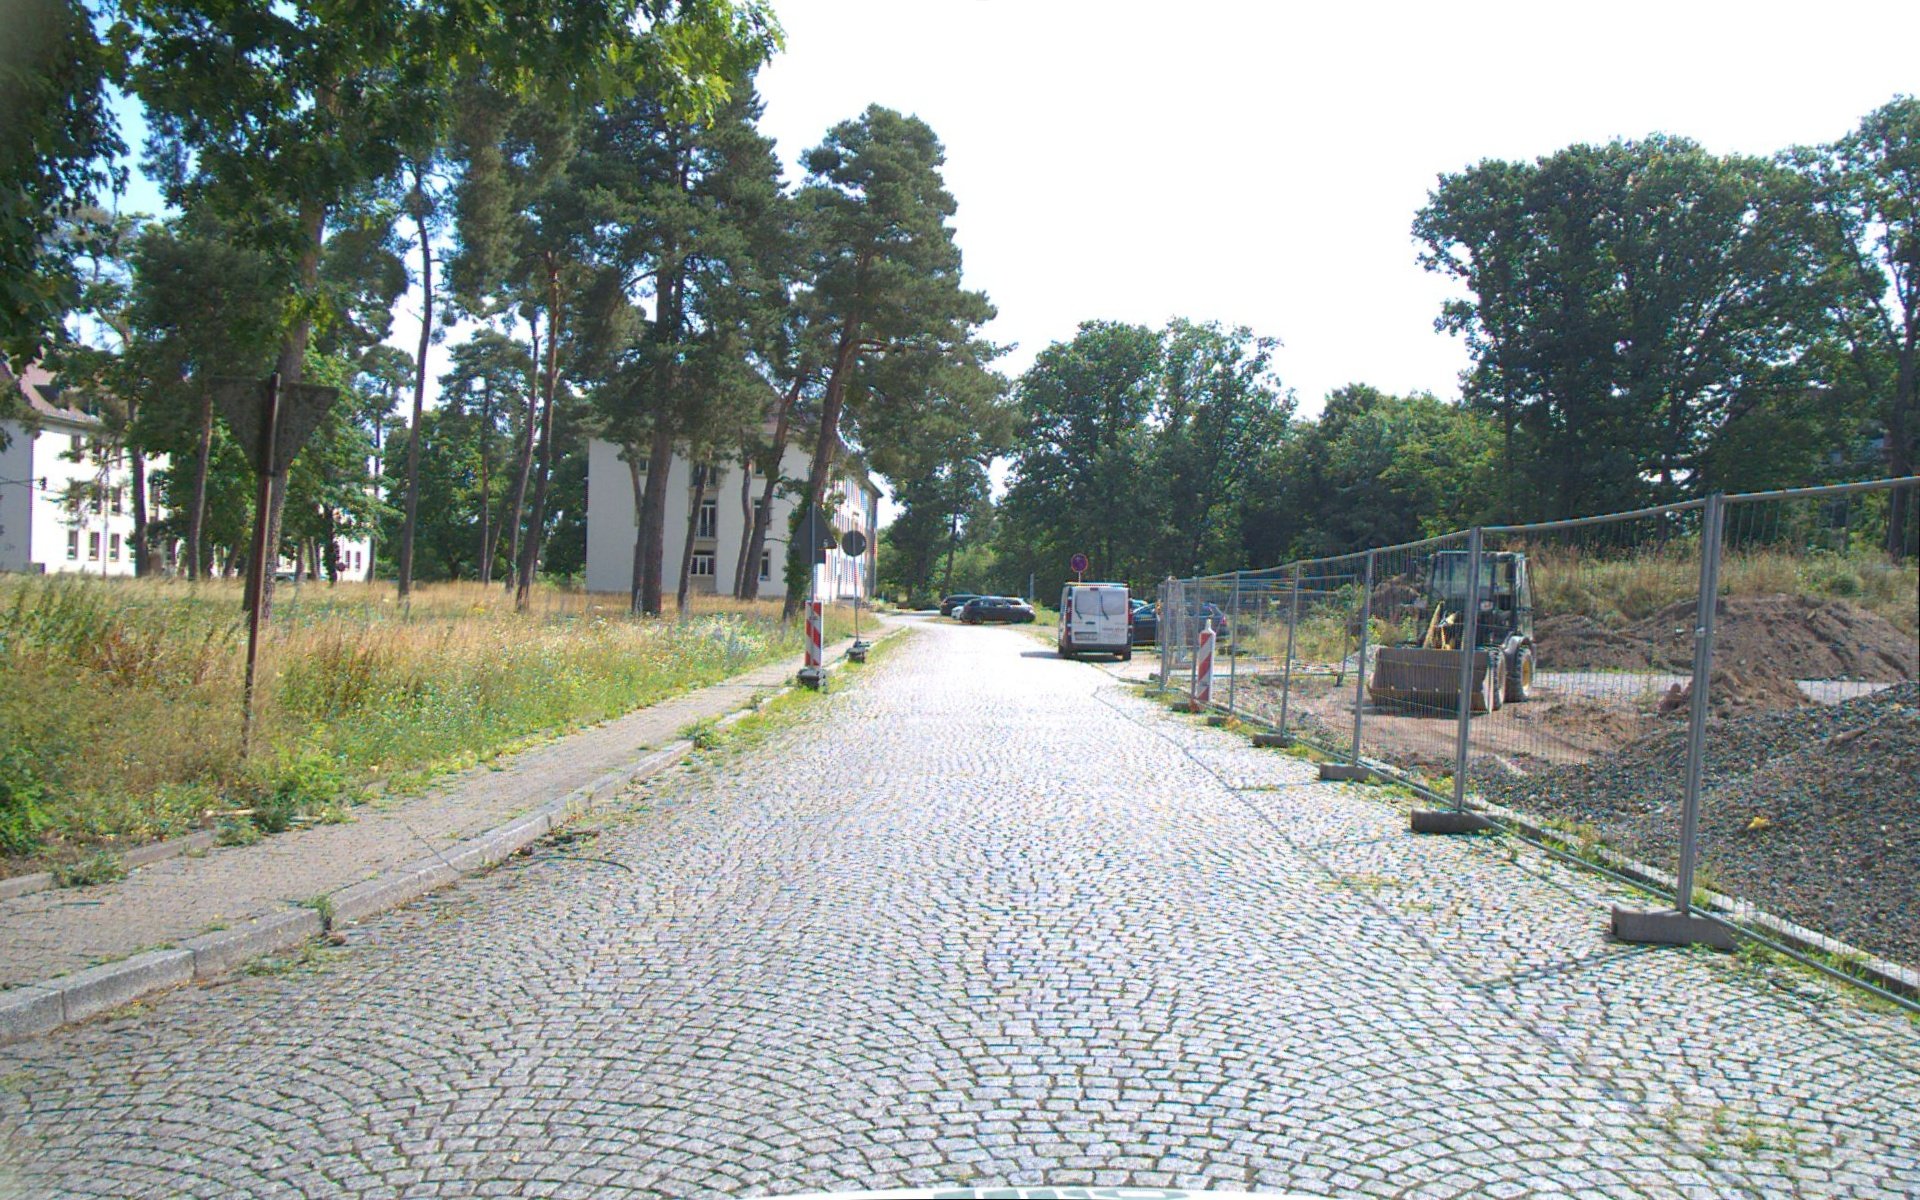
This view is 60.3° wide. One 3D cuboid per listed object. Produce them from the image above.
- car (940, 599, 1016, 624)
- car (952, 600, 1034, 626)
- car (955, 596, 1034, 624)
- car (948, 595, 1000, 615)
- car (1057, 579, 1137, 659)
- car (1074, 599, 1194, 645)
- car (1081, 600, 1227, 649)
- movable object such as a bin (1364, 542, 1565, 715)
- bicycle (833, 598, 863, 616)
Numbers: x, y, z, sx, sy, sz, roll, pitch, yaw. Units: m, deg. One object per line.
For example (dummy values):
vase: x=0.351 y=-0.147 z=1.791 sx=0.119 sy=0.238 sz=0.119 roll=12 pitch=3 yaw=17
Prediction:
car: x=1.119 y=0.712 z=104.069 sx=4.754 sy=1.580 sz=1.879 roll=0 pitch=-1 yaw=-1
car: x=1.909 y=0.760 z=96.717 sx=4.763 sy=1.498 sz=1.874 roll=0 pitch=1 yaw=-1
car: x=1.951 y=0.552 z=93.611 sx=4.243 sy=1.526 sz=1.827 roll=0 pitch=1 yaw=-8
car: x=1.138 y=0.419 z=132.205 sx=4.100 sy=1.570 sz=1.820 roll=0 pitch=-1 yaw=2
car: x=3.765 y=0.512 z=46.252 sx=1.874 sy=2.089 sz=5.679 roll=1 pitch=0 yaw=1
car: x=5.964 y=0.750 z=56.878 sx=3.907 sy=1.533 sz=1.746 roll=0 pitch=0 yaw=-3
car: x=6.099 y=0.767 z=52.238 sx=4.366 sy=1.501 sz=1.744 roll=0 pitch=0 yaw=-4
movable object such as a bin: x=8.500 y=0.387 z=27.475 sx=2.102 sy=2.566 sz=5.647 roll=1 pitch=1 yaw=28
bicycle: x=-8.203 y=0.528 z=121.147 sx=2.176 sy=1.282 sz=0.623 roll=1 pitch=-1 yaw=2
